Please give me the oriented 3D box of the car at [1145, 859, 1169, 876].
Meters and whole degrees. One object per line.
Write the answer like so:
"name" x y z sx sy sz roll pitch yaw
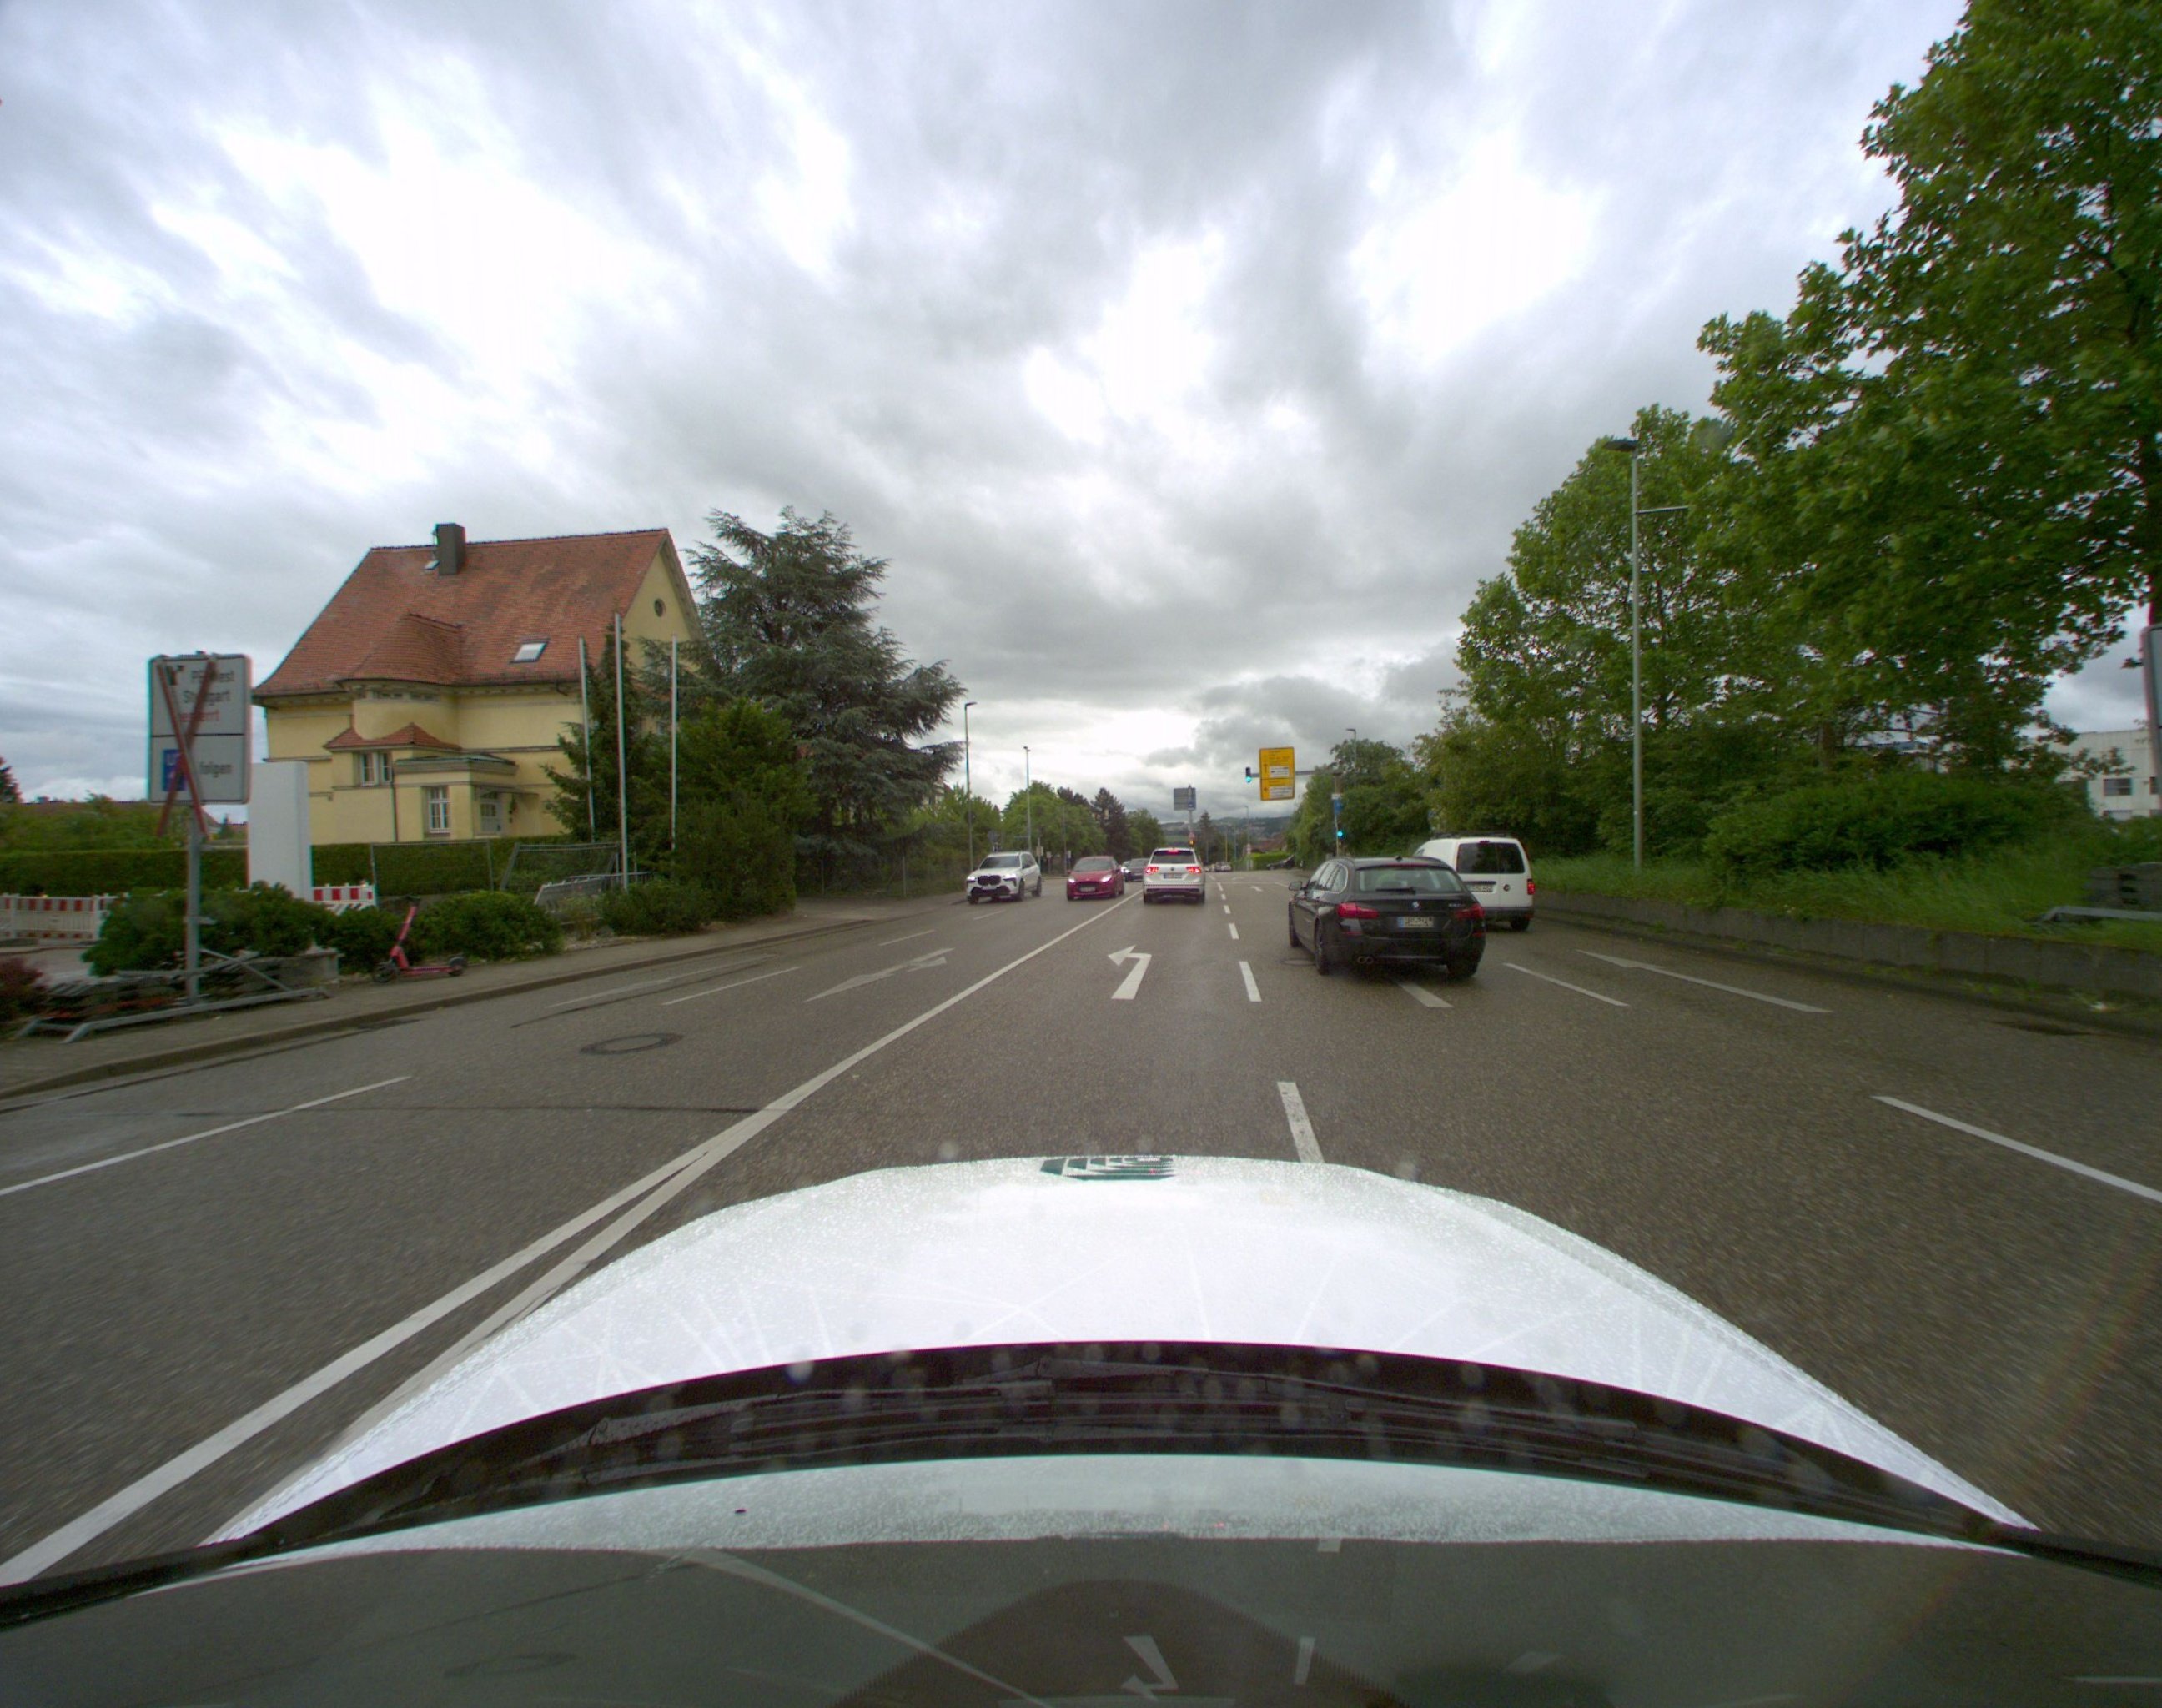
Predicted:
"car" 6.852 1.183 73.413 1.738 1.385 4.423 -4 0 10

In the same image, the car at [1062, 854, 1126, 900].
"car" 0.525 0.757 28.946 1.671 1.419 3.850 -4 0 9

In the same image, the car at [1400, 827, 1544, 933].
"car" 7.876 0.418 16.771 1.753 1.877 3.817 -1 2 10

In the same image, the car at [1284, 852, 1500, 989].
"car" 3.886 0.721 10.915 1.888 1.441 4.010 1 0 9

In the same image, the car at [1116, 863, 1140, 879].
"car" 4.512 1.567 77.175 1.764 1.385 4.560 -2 0 8

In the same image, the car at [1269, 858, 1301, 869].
"car" 26.235 1.167 104.892 3.960 1.376 1.590 0 0 12

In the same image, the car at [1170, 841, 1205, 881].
"car" 5.930 0.343 44.950 1.800 2.087 3.860 -1 1 9

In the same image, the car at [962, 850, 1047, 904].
"car" -2.776 0.802 30.893 1.906 1.763 5.156 -4 0 9

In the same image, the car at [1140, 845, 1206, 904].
"car" 2.956 0.565 25.376 1.858 1.673 4.010 -1 0 9

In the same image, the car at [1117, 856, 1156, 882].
"car" 3.513 0.905 50.838 1.881 1.404 4.276 -3 0 10
